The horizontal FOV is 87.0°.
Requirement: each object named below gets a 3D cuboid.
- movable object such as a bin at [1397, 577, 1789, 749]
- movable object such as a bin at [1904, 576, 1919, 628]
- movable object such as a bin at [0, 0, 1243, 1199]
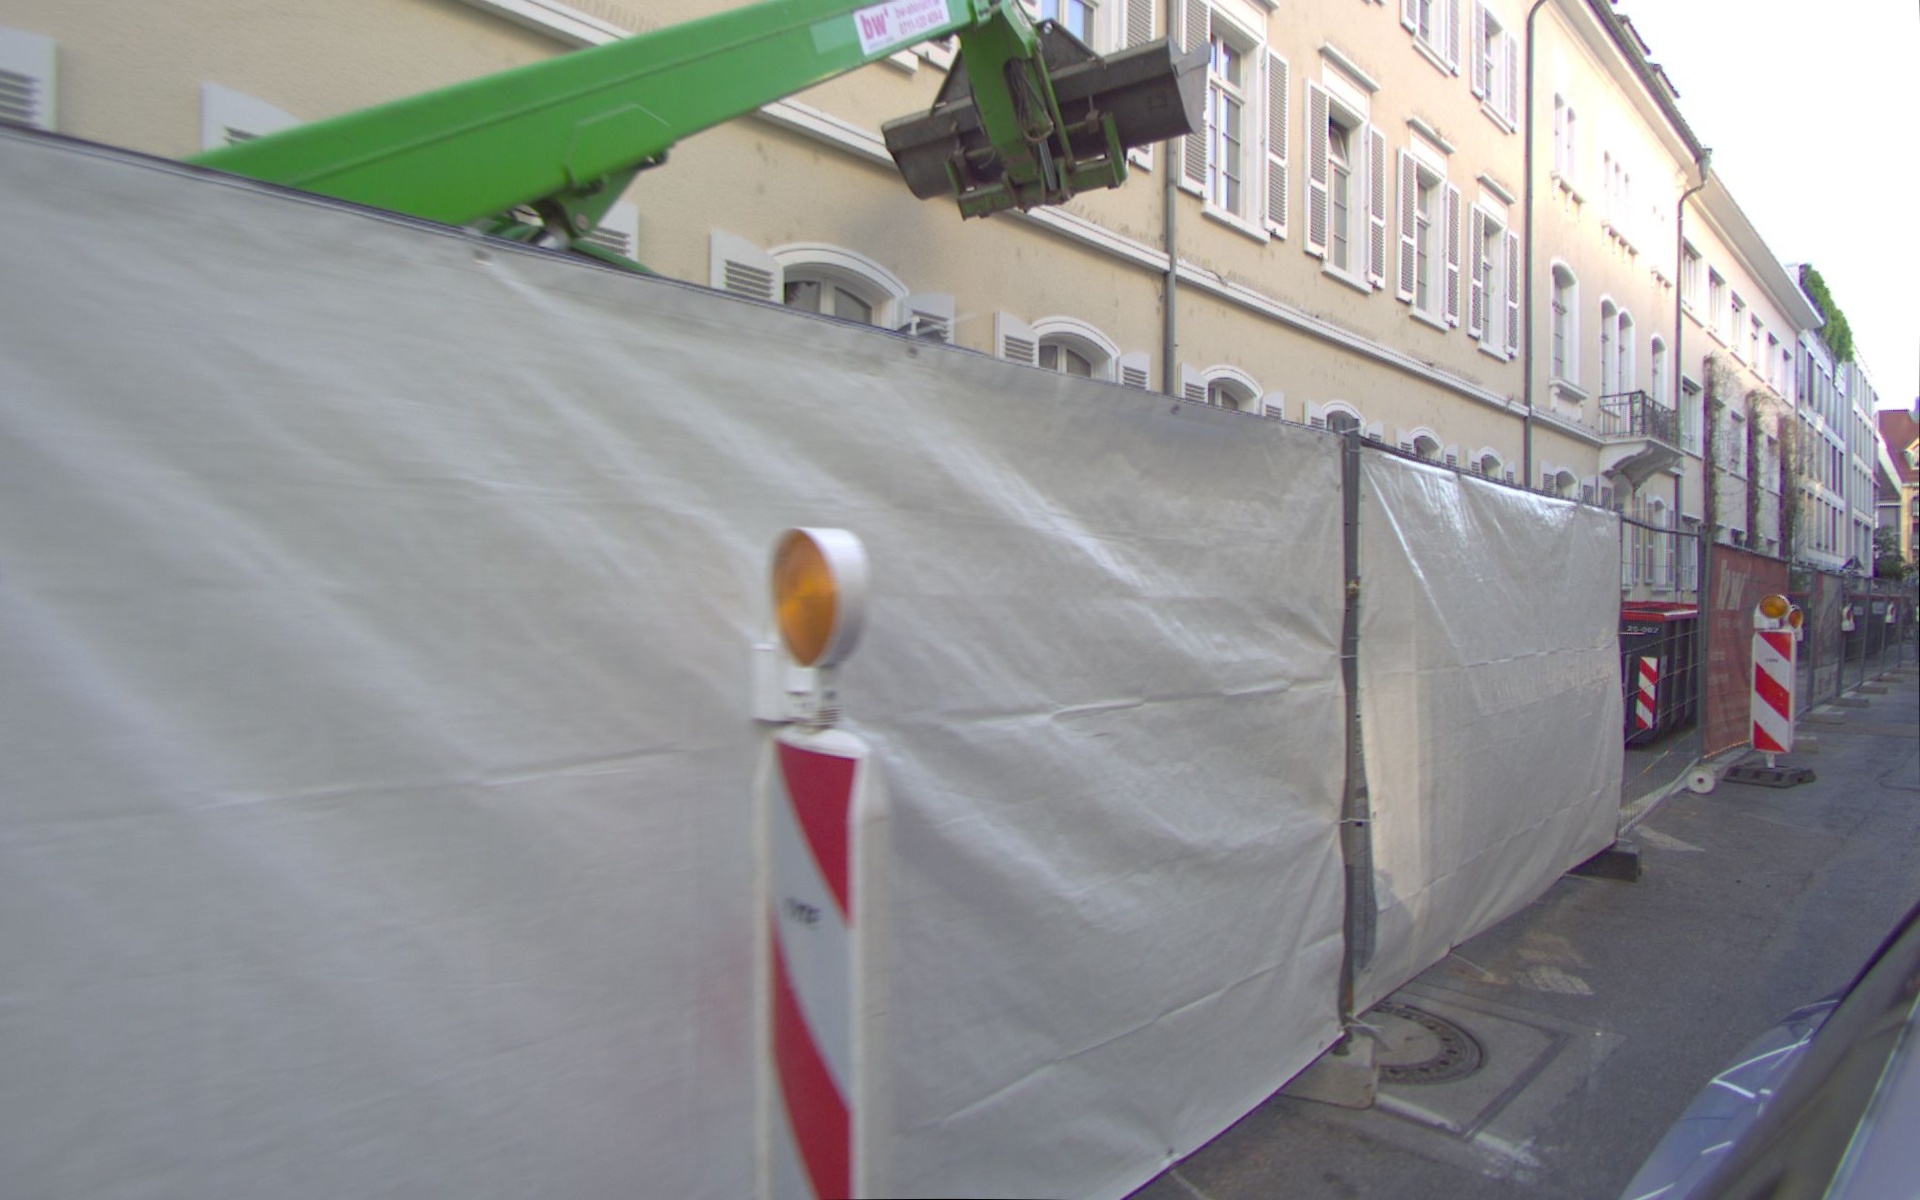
[{"bbox_3d":[8.661,0.598,13.349,7.428,1.659,2.737,0,0,-44],"label":"movable object such as a bin"},{"bbox_3d":[51.668,0.111,53.541,5.653,2.657,2.017,1,-3,-43],"label":"movable object such as a bin"},{"bbox_3d":[-1.236,0.089,3.963,4.375,2.874,2.608,0,1,-43],"label":"movable object such as a bin"}]
